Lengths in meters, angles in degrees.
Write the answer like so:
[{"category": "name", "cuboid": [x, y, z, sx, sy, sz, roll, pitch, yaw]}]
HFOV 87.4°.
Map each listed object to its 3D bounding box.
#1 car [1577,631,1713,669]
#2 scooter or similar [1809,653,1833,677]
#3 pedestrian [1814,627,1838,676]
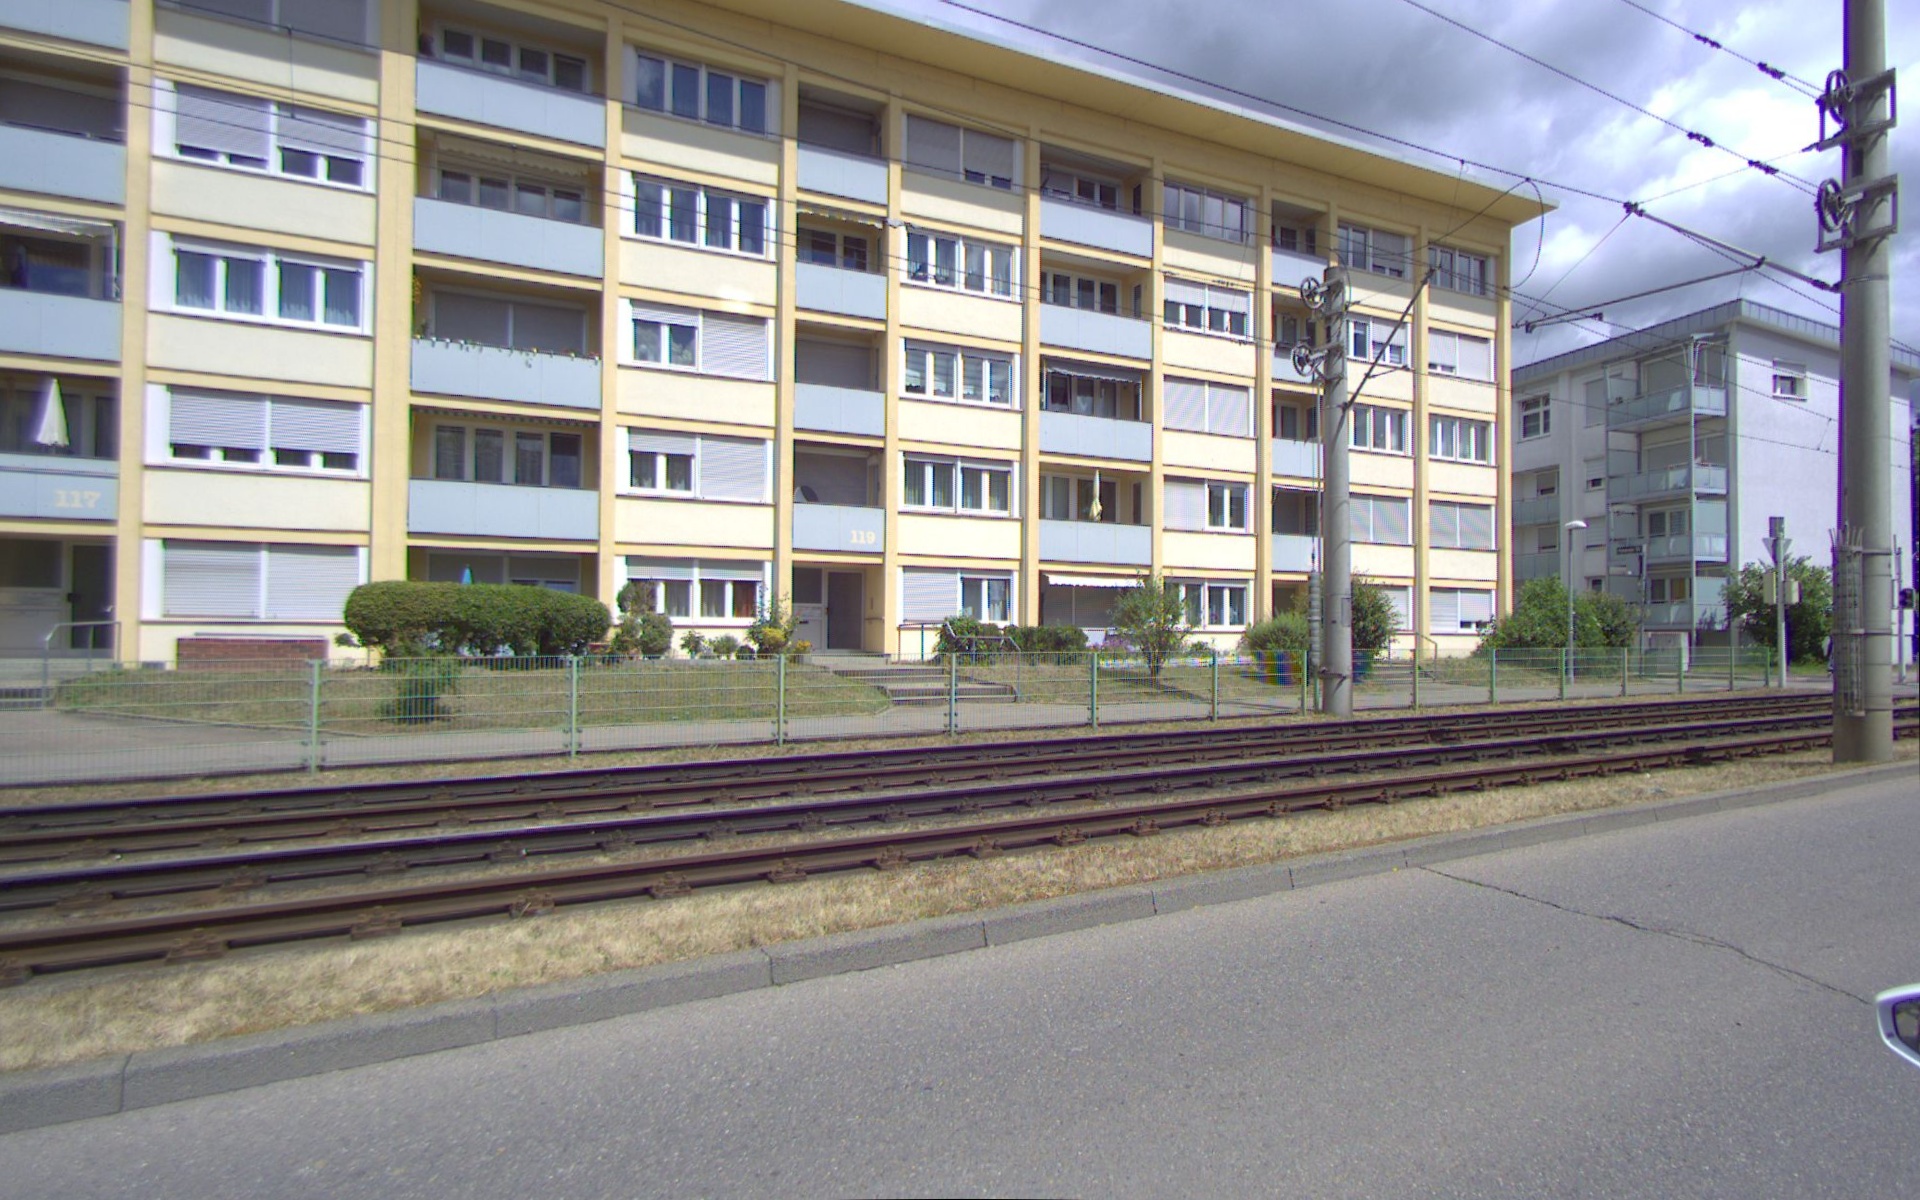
[{"category": "car", "cuboid": [26.348, 1.894, 38.779, 1.873, 1.363, 3.980, 1, -2, -21]}, {"category": "scooter or similar", "cuboid": [28.224, 2.126, 32.933, 0.468, 0.757, 0.436, 1, -1, -24]}, {"category": "pedestrian", "cuboid": [28.593, 1.694, 33.179, 0.468, 1.601, 0.436, 1, -1, -25]}]
